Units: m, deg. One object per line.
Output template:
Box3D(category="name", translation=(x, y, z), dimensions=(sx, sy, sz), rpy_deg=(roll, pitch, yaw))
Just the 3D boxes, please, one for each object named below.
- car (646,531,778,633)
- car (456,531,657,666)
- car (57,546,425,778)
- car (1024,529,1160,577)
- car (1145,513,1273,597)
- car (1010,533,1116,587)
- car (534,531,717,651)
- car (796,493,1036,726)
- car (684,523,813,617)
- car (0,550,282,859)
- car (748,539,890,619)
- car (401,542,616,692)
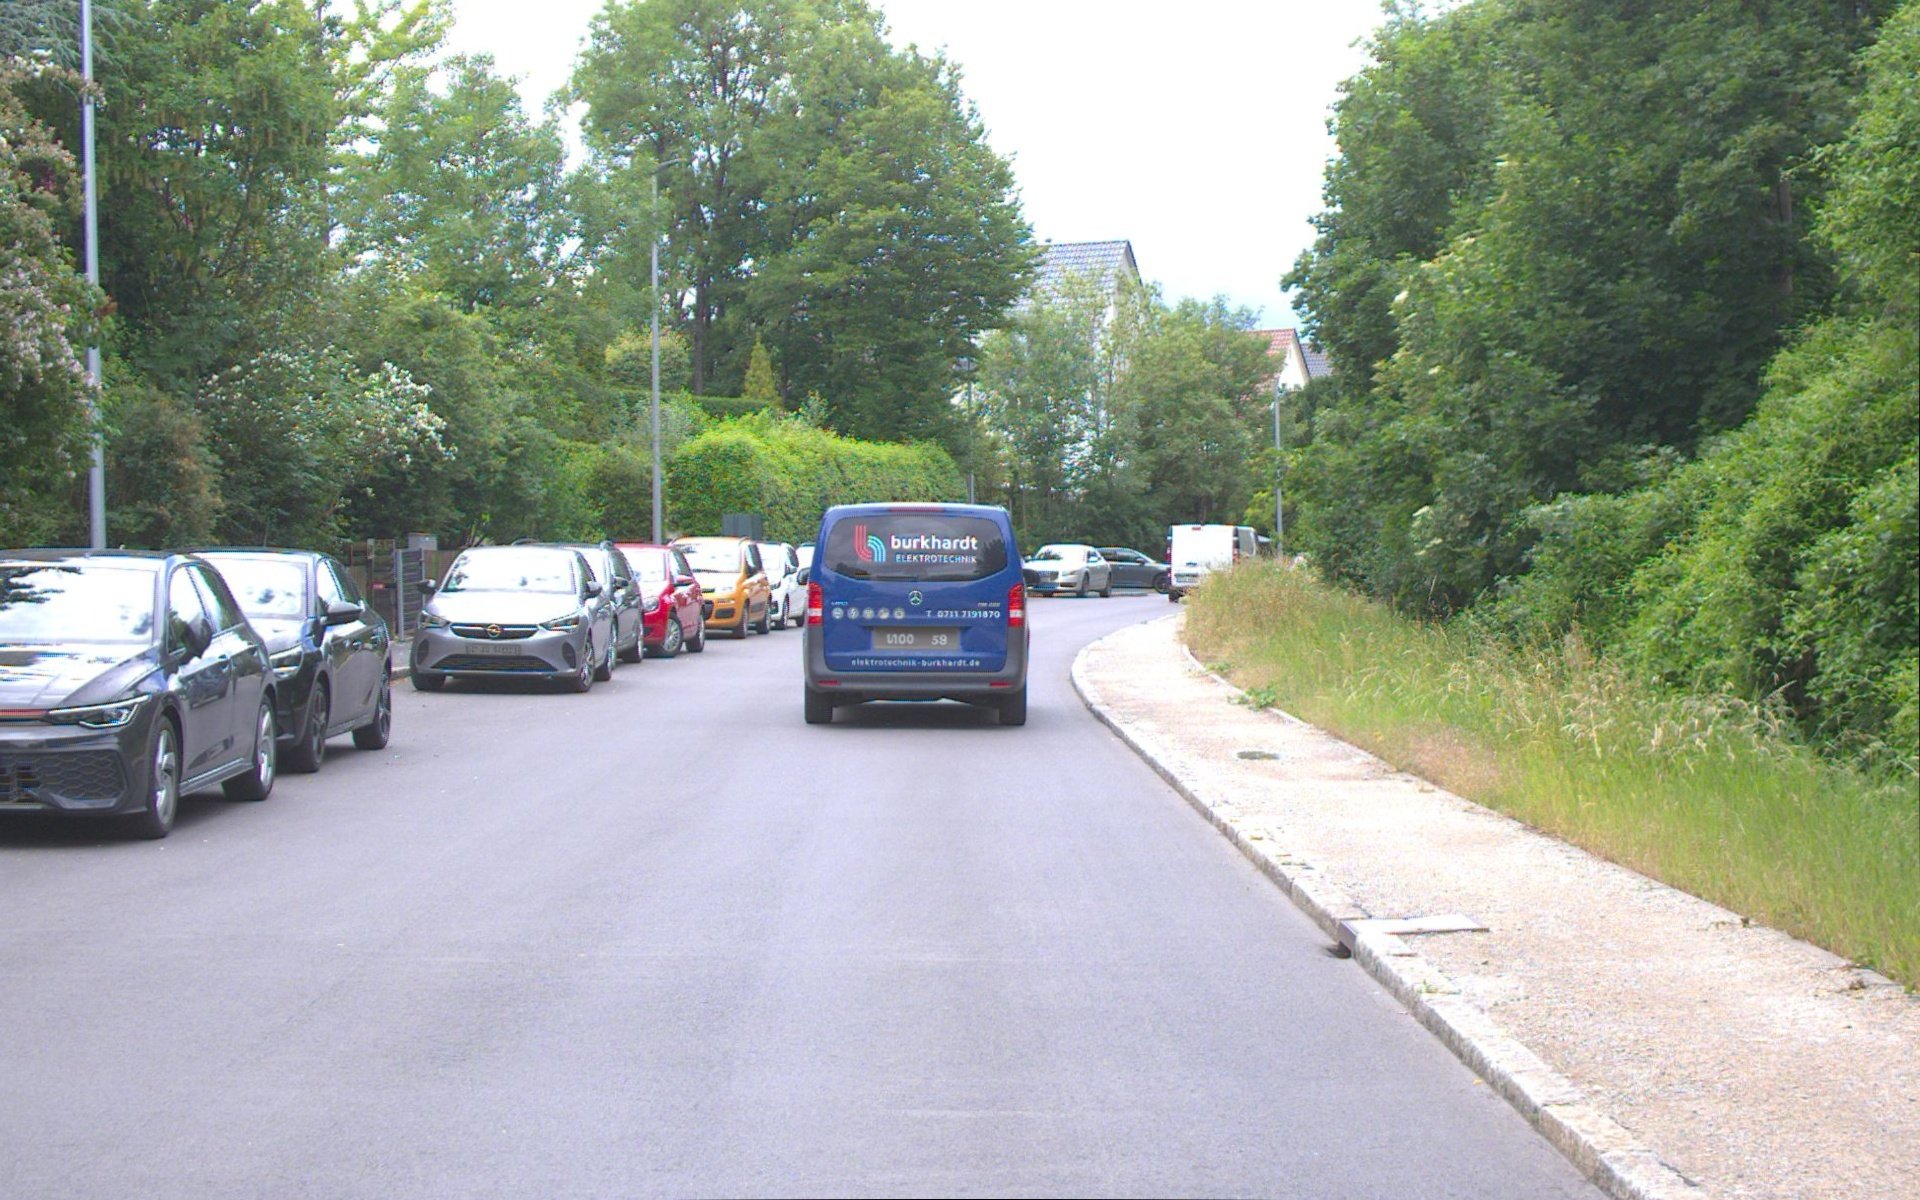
Box3D(category="car", translation=(-3.814, -0.310, 53.350), dimensions=(1.544, 1.509, 3.644), rpy_deg=(1, 1, 4))
Box3D(category="car", translation=(-4.753, -0.060, 41.017), dimensions=(1.707, 1.509, 4.495), rpy_deg=(1, 1, 2))
Box3D(category="car", translation=(-4.810, 0.353, 23.529), dimensions=(1.707, 1.411, 4.133), rpy_deg=(1, 1, -1))
Box3D(category="car", translation=(4.165, -1.485, 108.563), dimensions=(4.166, 1.442, 1.740), rpy_deg=(1, 1, -1))
Box3D(category="car", translation=(6.363, -1.140, 87.204), dimensions=(2.207, 2.056, 6.131), rpy_deg=(0, 1, 14))
Box3D(category="car", translation=(2.745, -1.076, 90.897), dimensions=(1.832, 1.369, 4.442), rpy_deg=(1, 1, 15))
Box3D(category="car", translation=(-4.405, -0.160, 45.824), dimensions=(1.707, 1.509, 4.363), rpy_deg=(1, 1, 4))
Box3D(category="car", translation=(-0.437, 0.032, 30.168), dimensions=(1.936, 1.873, 4.531), rpy_deg=(1, 1, -2))
Box3D(category="car", translation=(-3.543, -0.529, 58.048), dimensions=(1.588, 1.509, 3.590), rpy_deg=(1, 1, 6))
Box3D(category="car", translation=(-4.827, 0.463, 18.226), dimensions=(1.707, 1.411, 4.150), rpy_deg=(1, 1, -1))
Box3D(category="car", translation=(-2.564, -0.415, 63.423), dimensions=(1.719, 1.380, 4.662), rpy_deg=(1, 1, 9))
Box3D(category="car", translation=(-4.539, 0.131, 35.046), dimensions=(1.707, 1.405, 4.161), rpy_deg=(1, 1, -1))
